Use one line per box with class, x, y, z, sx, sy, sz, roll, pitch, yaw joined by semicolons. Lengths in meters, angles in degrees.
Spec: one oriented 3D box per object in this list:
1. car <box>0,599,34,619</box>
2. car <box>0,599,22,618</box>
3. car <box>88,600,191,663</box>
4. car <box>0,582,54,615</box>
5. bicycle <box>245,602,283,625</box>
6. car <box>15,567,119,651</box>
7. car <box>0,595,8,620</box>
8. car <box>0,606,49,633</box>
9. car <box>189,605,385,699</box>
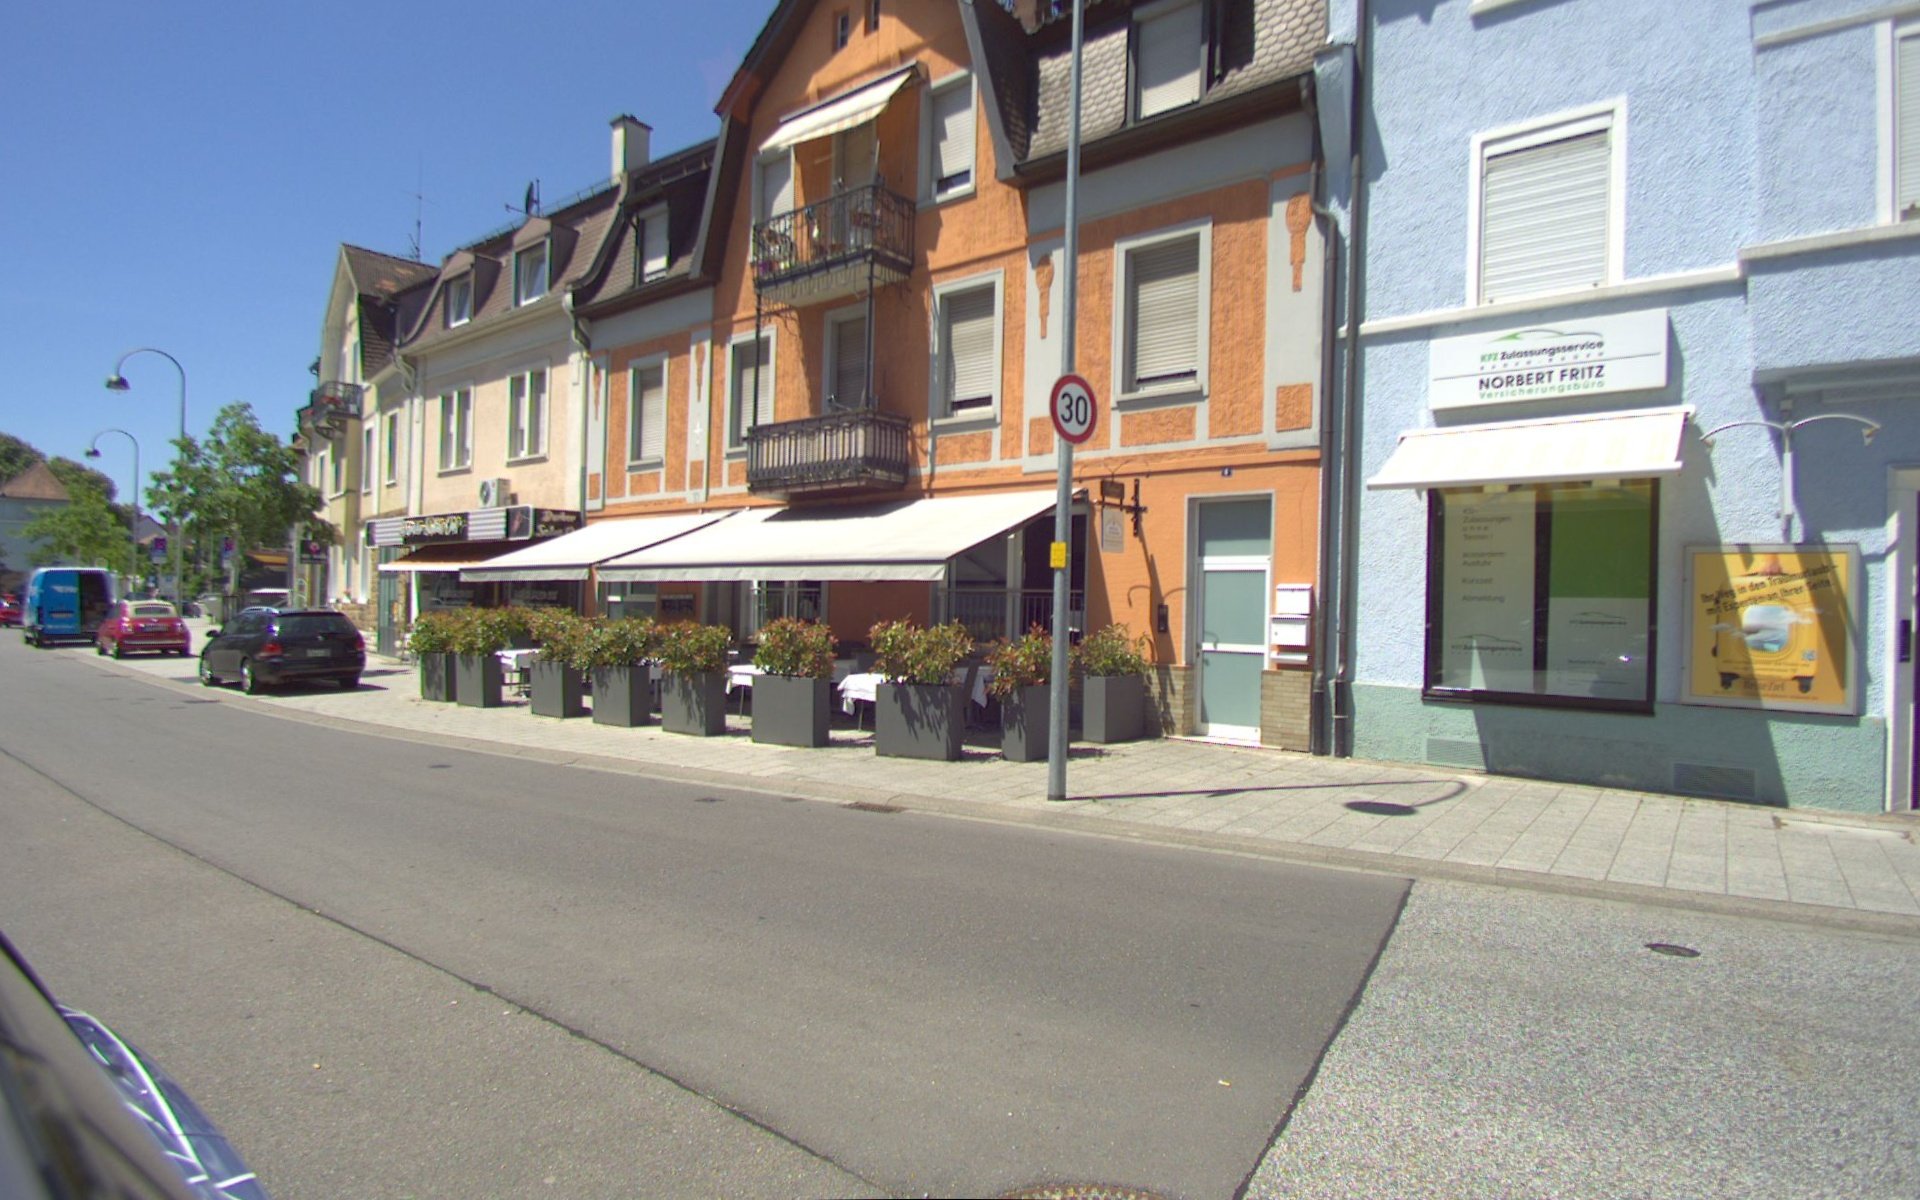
car;-77.265;0.669;81.043;4.288;1.562;1.656;2;-1;-35
car;-74.574;0.615;77.441;3.756;1.473;1.657;2;-1;-33
car;-22.331;0.812;27.507;3.513;1.532;1.544;1;0;40
car;-83.352;-0.115;89.224;4.788;2.757;1.856;3;-2;-31
bicycle;-40.212;0.765;58.473;1.741;1.244;0.618;-2;-1;-33
car;-29.109;0.264;32.929;5.504;2.517;2.069;0;0;44
car;-71.008;0.483;72.502;3.756;1.800;1.845;3;-2;-34
car;-51.002;1.057;54.730;1.889;1.437;3.991;2;-2;-32
car;-12.470;0.859;18.653;4.334;1.493;1.896;0;1;41
